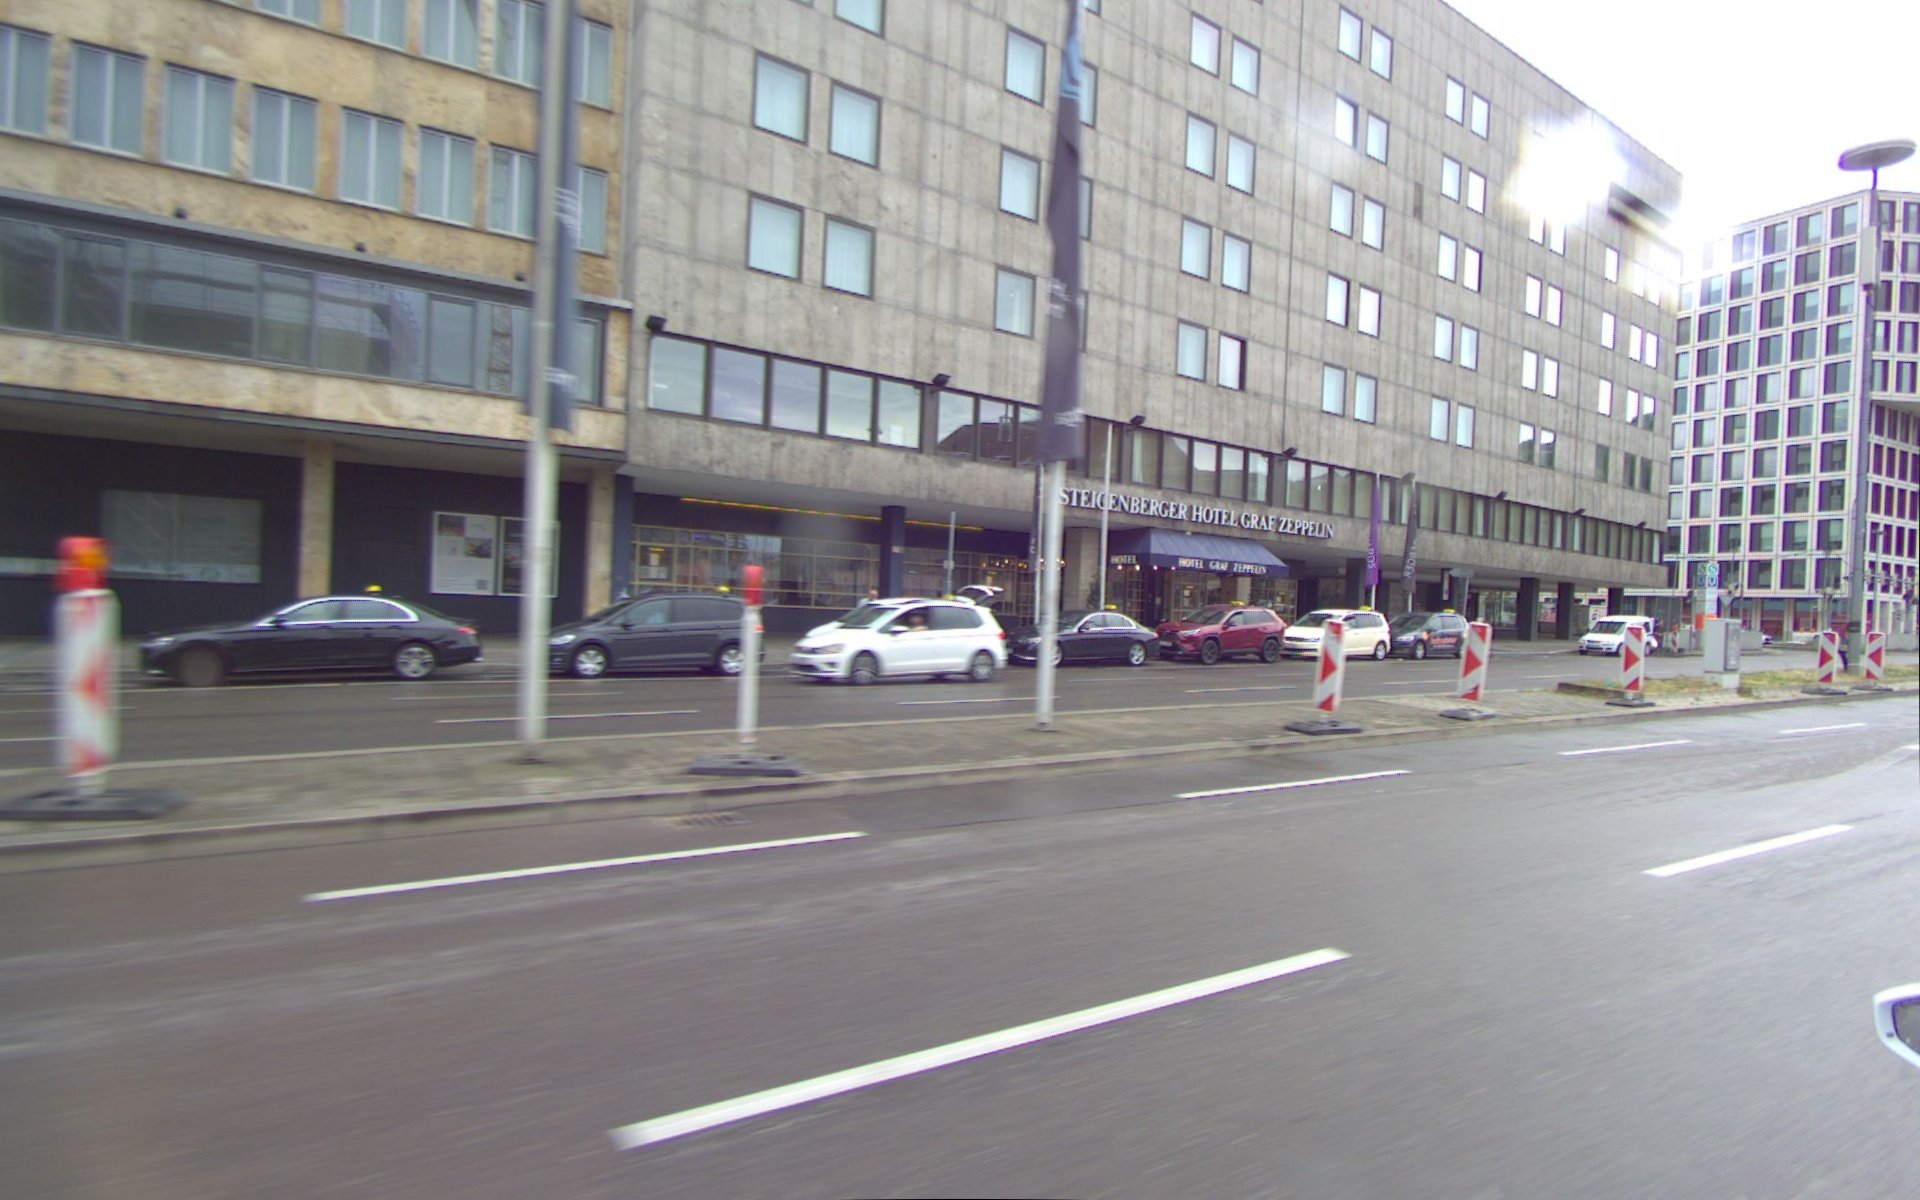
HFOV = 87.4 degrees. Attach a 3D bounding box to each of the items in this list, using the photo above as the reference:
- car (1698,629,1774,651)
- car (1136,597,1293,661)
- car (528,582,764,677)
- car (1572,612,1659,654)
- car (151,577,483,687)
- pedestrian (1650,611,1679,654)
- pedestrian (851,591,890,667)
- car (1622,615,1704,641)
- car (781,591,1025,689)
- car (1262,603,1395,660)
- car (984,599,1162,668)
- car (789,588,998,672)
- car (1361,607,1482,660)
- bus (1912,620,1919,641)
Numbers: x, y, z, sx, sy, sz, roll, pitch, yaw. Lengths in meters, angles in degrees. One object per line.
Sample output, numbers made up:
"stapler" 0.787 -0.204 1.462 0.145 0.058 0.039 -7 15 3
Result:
"car" 65.011 3.366 84.221 1.989 1.619 4.639 2 0 -22
"car" 7.632 0.870 29.983 4.596 1.791 1.891 2 0 -33
"car" -6.211 0.568 20.017 4.183 1.704 1.744 1 0 -33
"car" 29.410 1.485 45.051 4.328 1.786 1.763 2 0 -35
"car" -10.734 0.536 17.064 4.520 1.643 1.742 2 -1 -36
"pedestrian" 32.105 1.464 45.775 0.782 1.911 0.692 1 0 -10
"pedestrian" -2.189 0.701 24.430 0.651 1.805 0.617 2 1 -34
"car" 56.214 2.208 80.403 2.058 1.930 5.055 2 0 -24
"car" -1.038 0.741 19.507 4.455 1.691 1.812 2 0 -35
"car" 12.127 1.027 32.954 4.532 1.720 1.804 2 0 -35
"car" 3.042 0.866 26.640 4.569 1.681 1.890 1 0 -35
"car" -1.486 0.698 23.517 4.665 1.781 1.742 2 -1 -36
"car" 16.584 1.206 36.036 4.465 1.751 1.806 2 0 -33
"bus" 130.013 4.058 128.481 3.148 2.787 13.976 1 0 0
